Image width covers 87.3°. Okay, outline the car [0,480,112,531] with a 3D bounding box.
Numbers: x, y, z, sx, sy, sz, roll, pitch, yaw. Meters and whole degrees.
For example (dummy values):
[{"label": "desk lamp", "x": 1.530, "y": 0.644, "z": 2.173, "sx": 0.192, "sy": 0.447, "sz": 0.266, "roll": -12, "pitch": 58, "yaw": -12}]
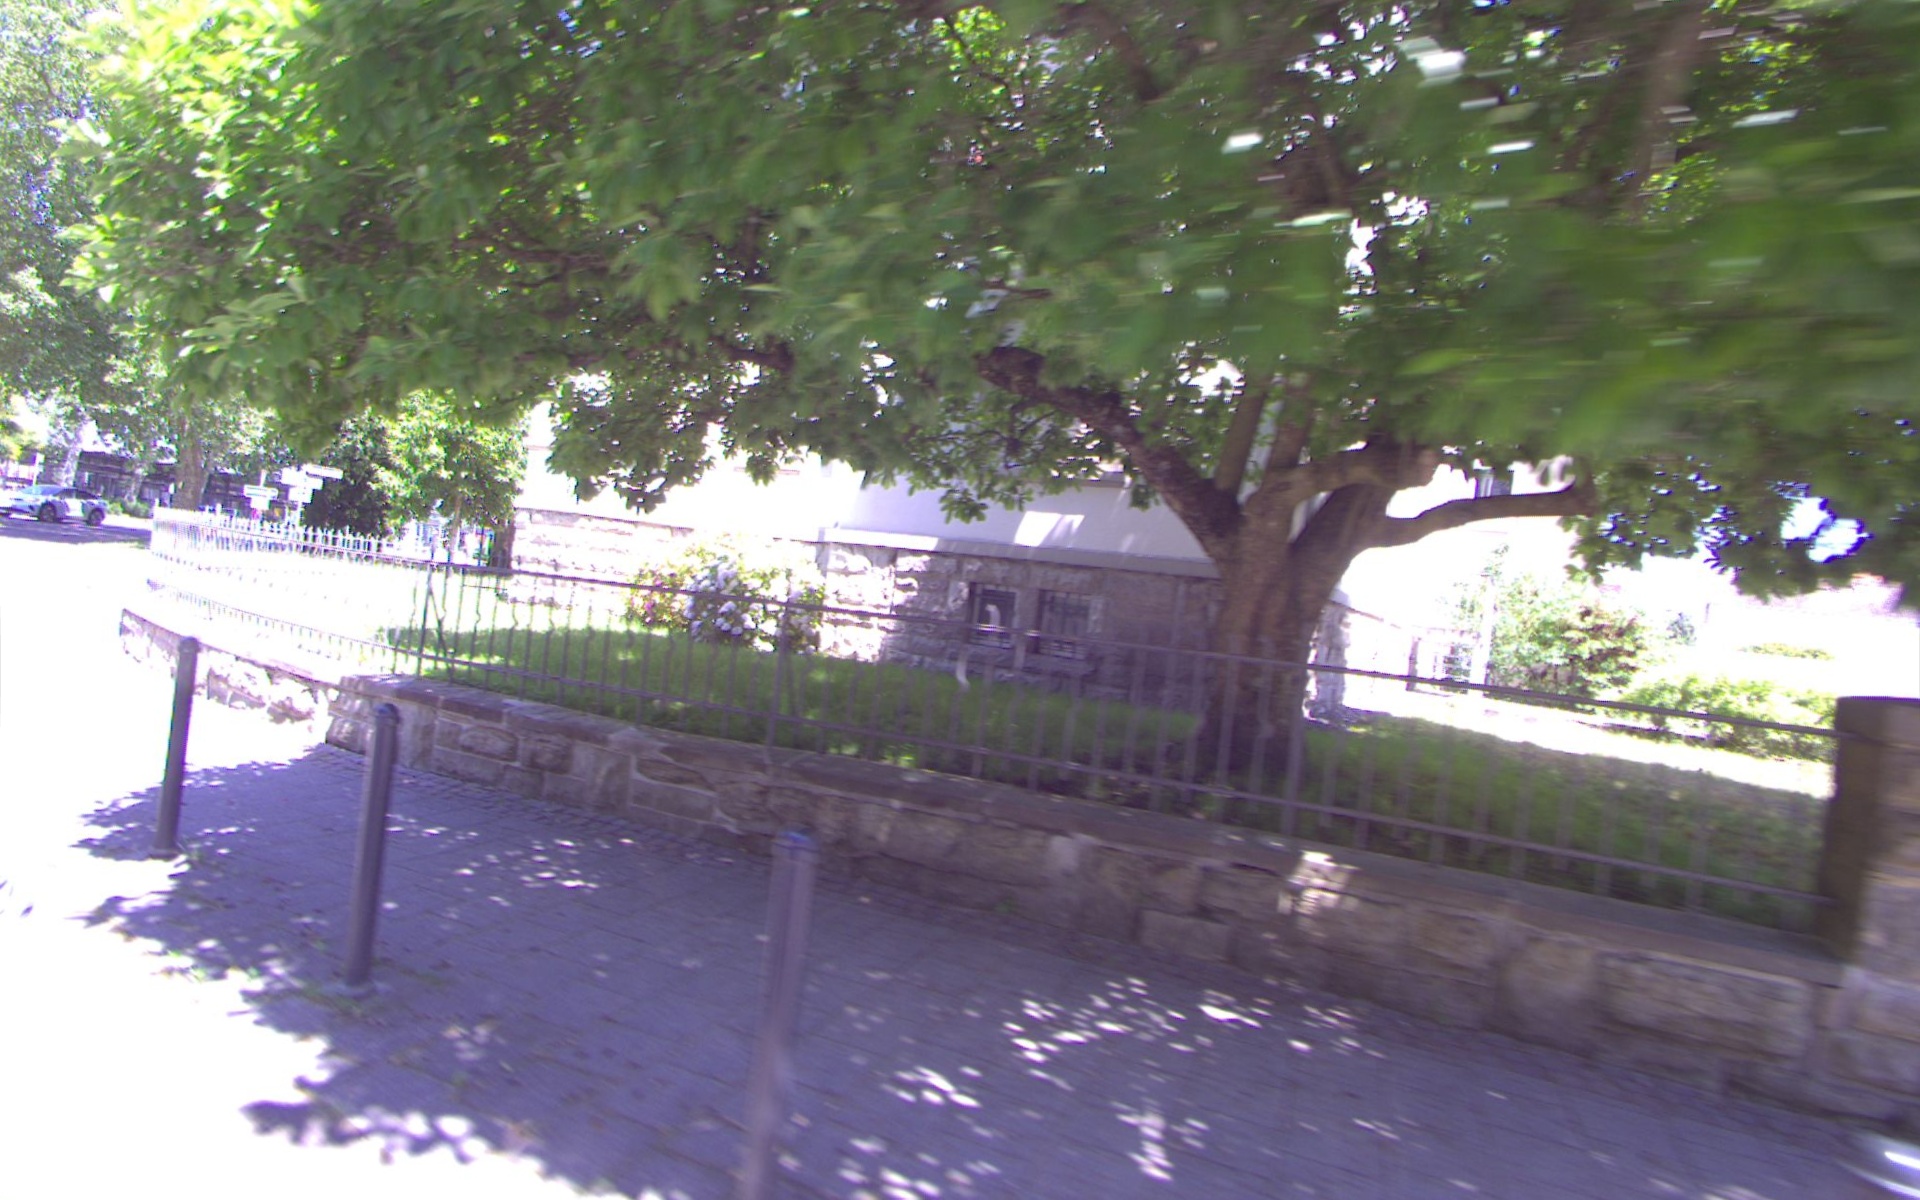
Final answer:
[{"label": "car", "x": -40.053, "y": -4.144, "z": 44.294, "sx": 1.794, "sy": 1.595, "sz": 4.471, "roll": 7, "pitch": -1, "yaw": -5}]
